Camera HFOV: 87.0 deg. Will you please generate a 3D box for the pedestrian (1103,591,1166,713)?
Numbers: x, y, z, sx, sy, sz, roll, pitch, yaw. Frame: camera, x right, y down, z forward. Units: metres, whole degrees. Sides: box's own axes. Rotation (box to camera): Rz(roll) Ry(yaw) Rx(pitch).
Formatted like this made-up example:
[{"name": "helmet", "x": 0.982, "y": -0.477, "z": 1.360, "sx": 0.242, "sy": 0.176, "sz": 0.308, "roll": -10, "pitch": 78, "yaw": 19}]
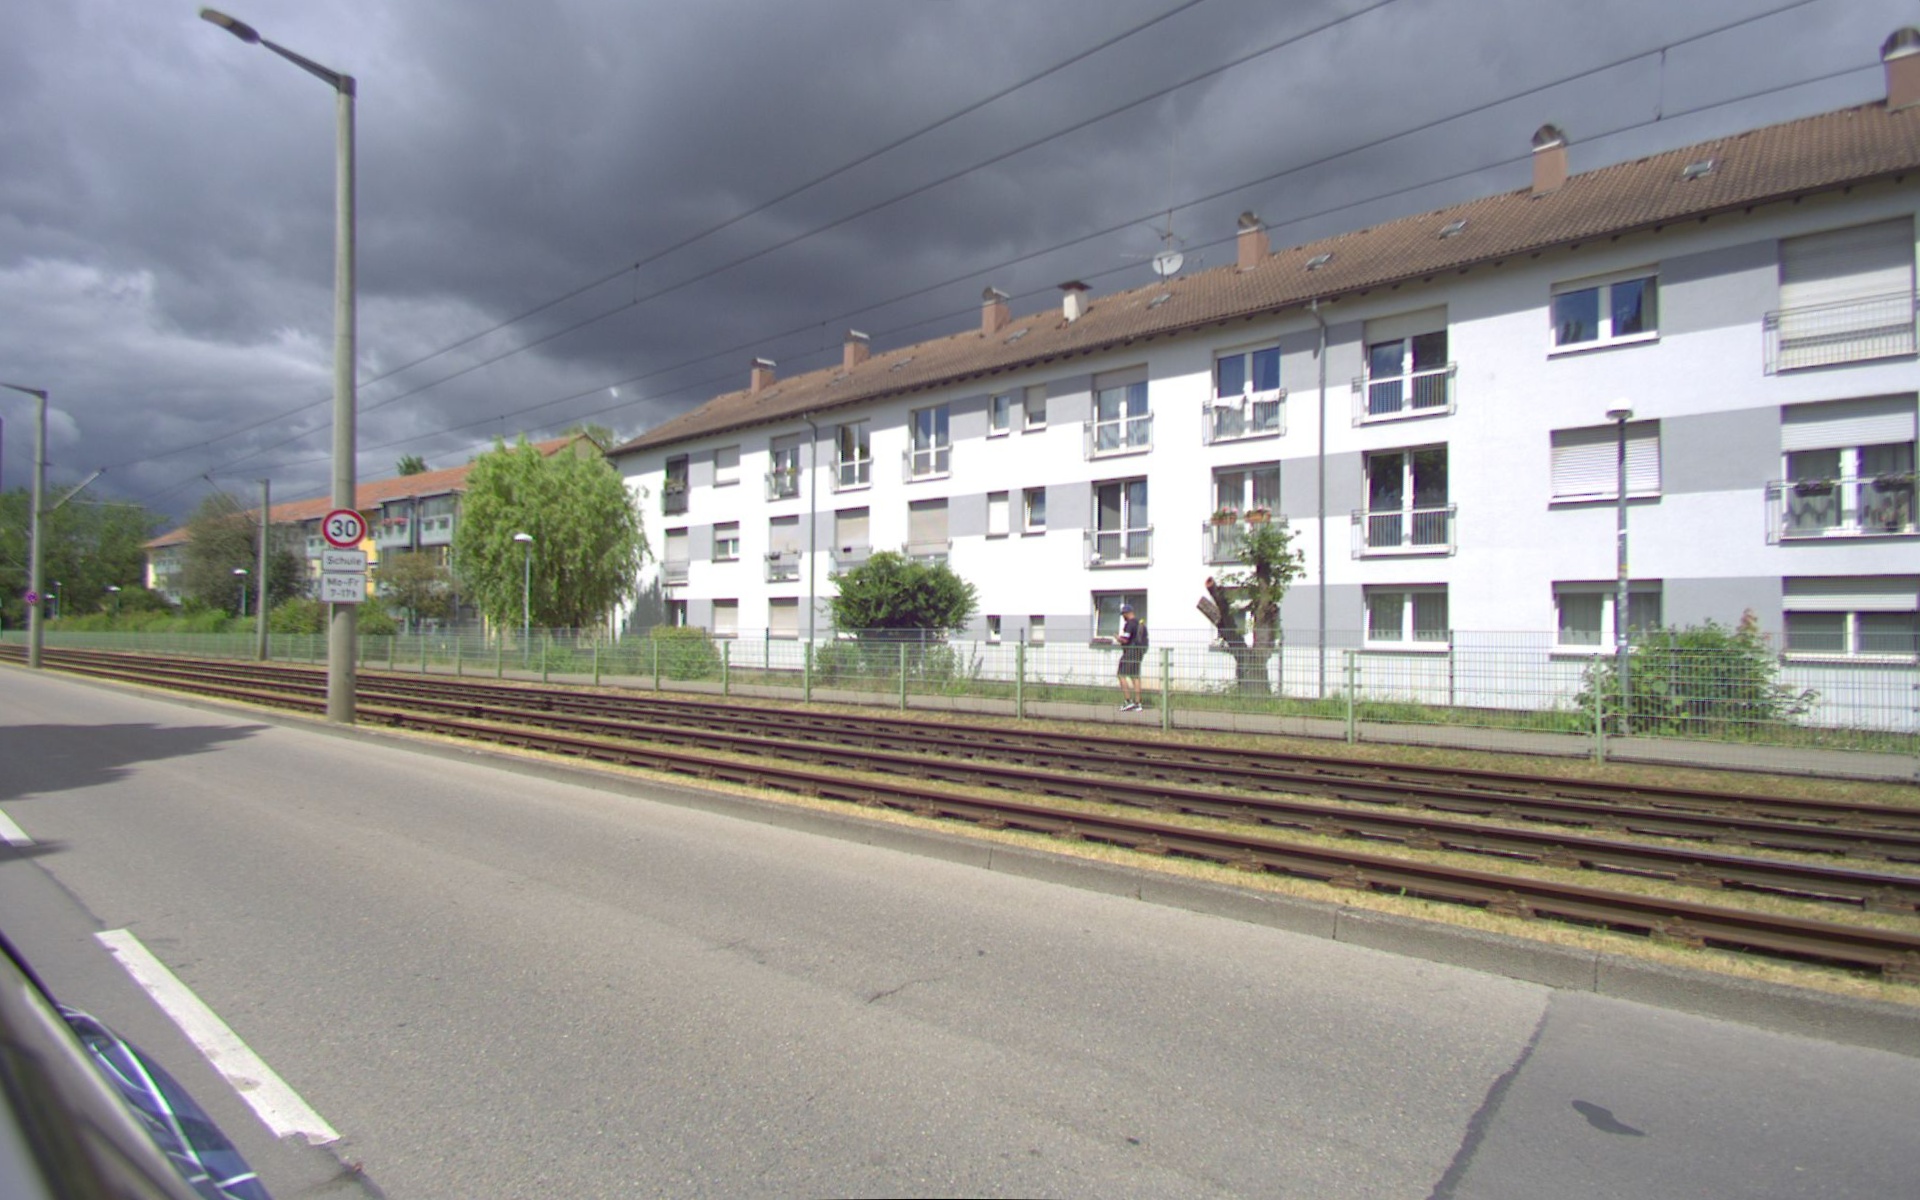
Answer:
[{"name": "pedestrian", "x": 2.759, "y": 0.821, "z": 15.999, "sx": 0.768, "sy": 1.863, "sz": 0.652, "roll": -2, "pitch": -4, "yaw": 41}]
